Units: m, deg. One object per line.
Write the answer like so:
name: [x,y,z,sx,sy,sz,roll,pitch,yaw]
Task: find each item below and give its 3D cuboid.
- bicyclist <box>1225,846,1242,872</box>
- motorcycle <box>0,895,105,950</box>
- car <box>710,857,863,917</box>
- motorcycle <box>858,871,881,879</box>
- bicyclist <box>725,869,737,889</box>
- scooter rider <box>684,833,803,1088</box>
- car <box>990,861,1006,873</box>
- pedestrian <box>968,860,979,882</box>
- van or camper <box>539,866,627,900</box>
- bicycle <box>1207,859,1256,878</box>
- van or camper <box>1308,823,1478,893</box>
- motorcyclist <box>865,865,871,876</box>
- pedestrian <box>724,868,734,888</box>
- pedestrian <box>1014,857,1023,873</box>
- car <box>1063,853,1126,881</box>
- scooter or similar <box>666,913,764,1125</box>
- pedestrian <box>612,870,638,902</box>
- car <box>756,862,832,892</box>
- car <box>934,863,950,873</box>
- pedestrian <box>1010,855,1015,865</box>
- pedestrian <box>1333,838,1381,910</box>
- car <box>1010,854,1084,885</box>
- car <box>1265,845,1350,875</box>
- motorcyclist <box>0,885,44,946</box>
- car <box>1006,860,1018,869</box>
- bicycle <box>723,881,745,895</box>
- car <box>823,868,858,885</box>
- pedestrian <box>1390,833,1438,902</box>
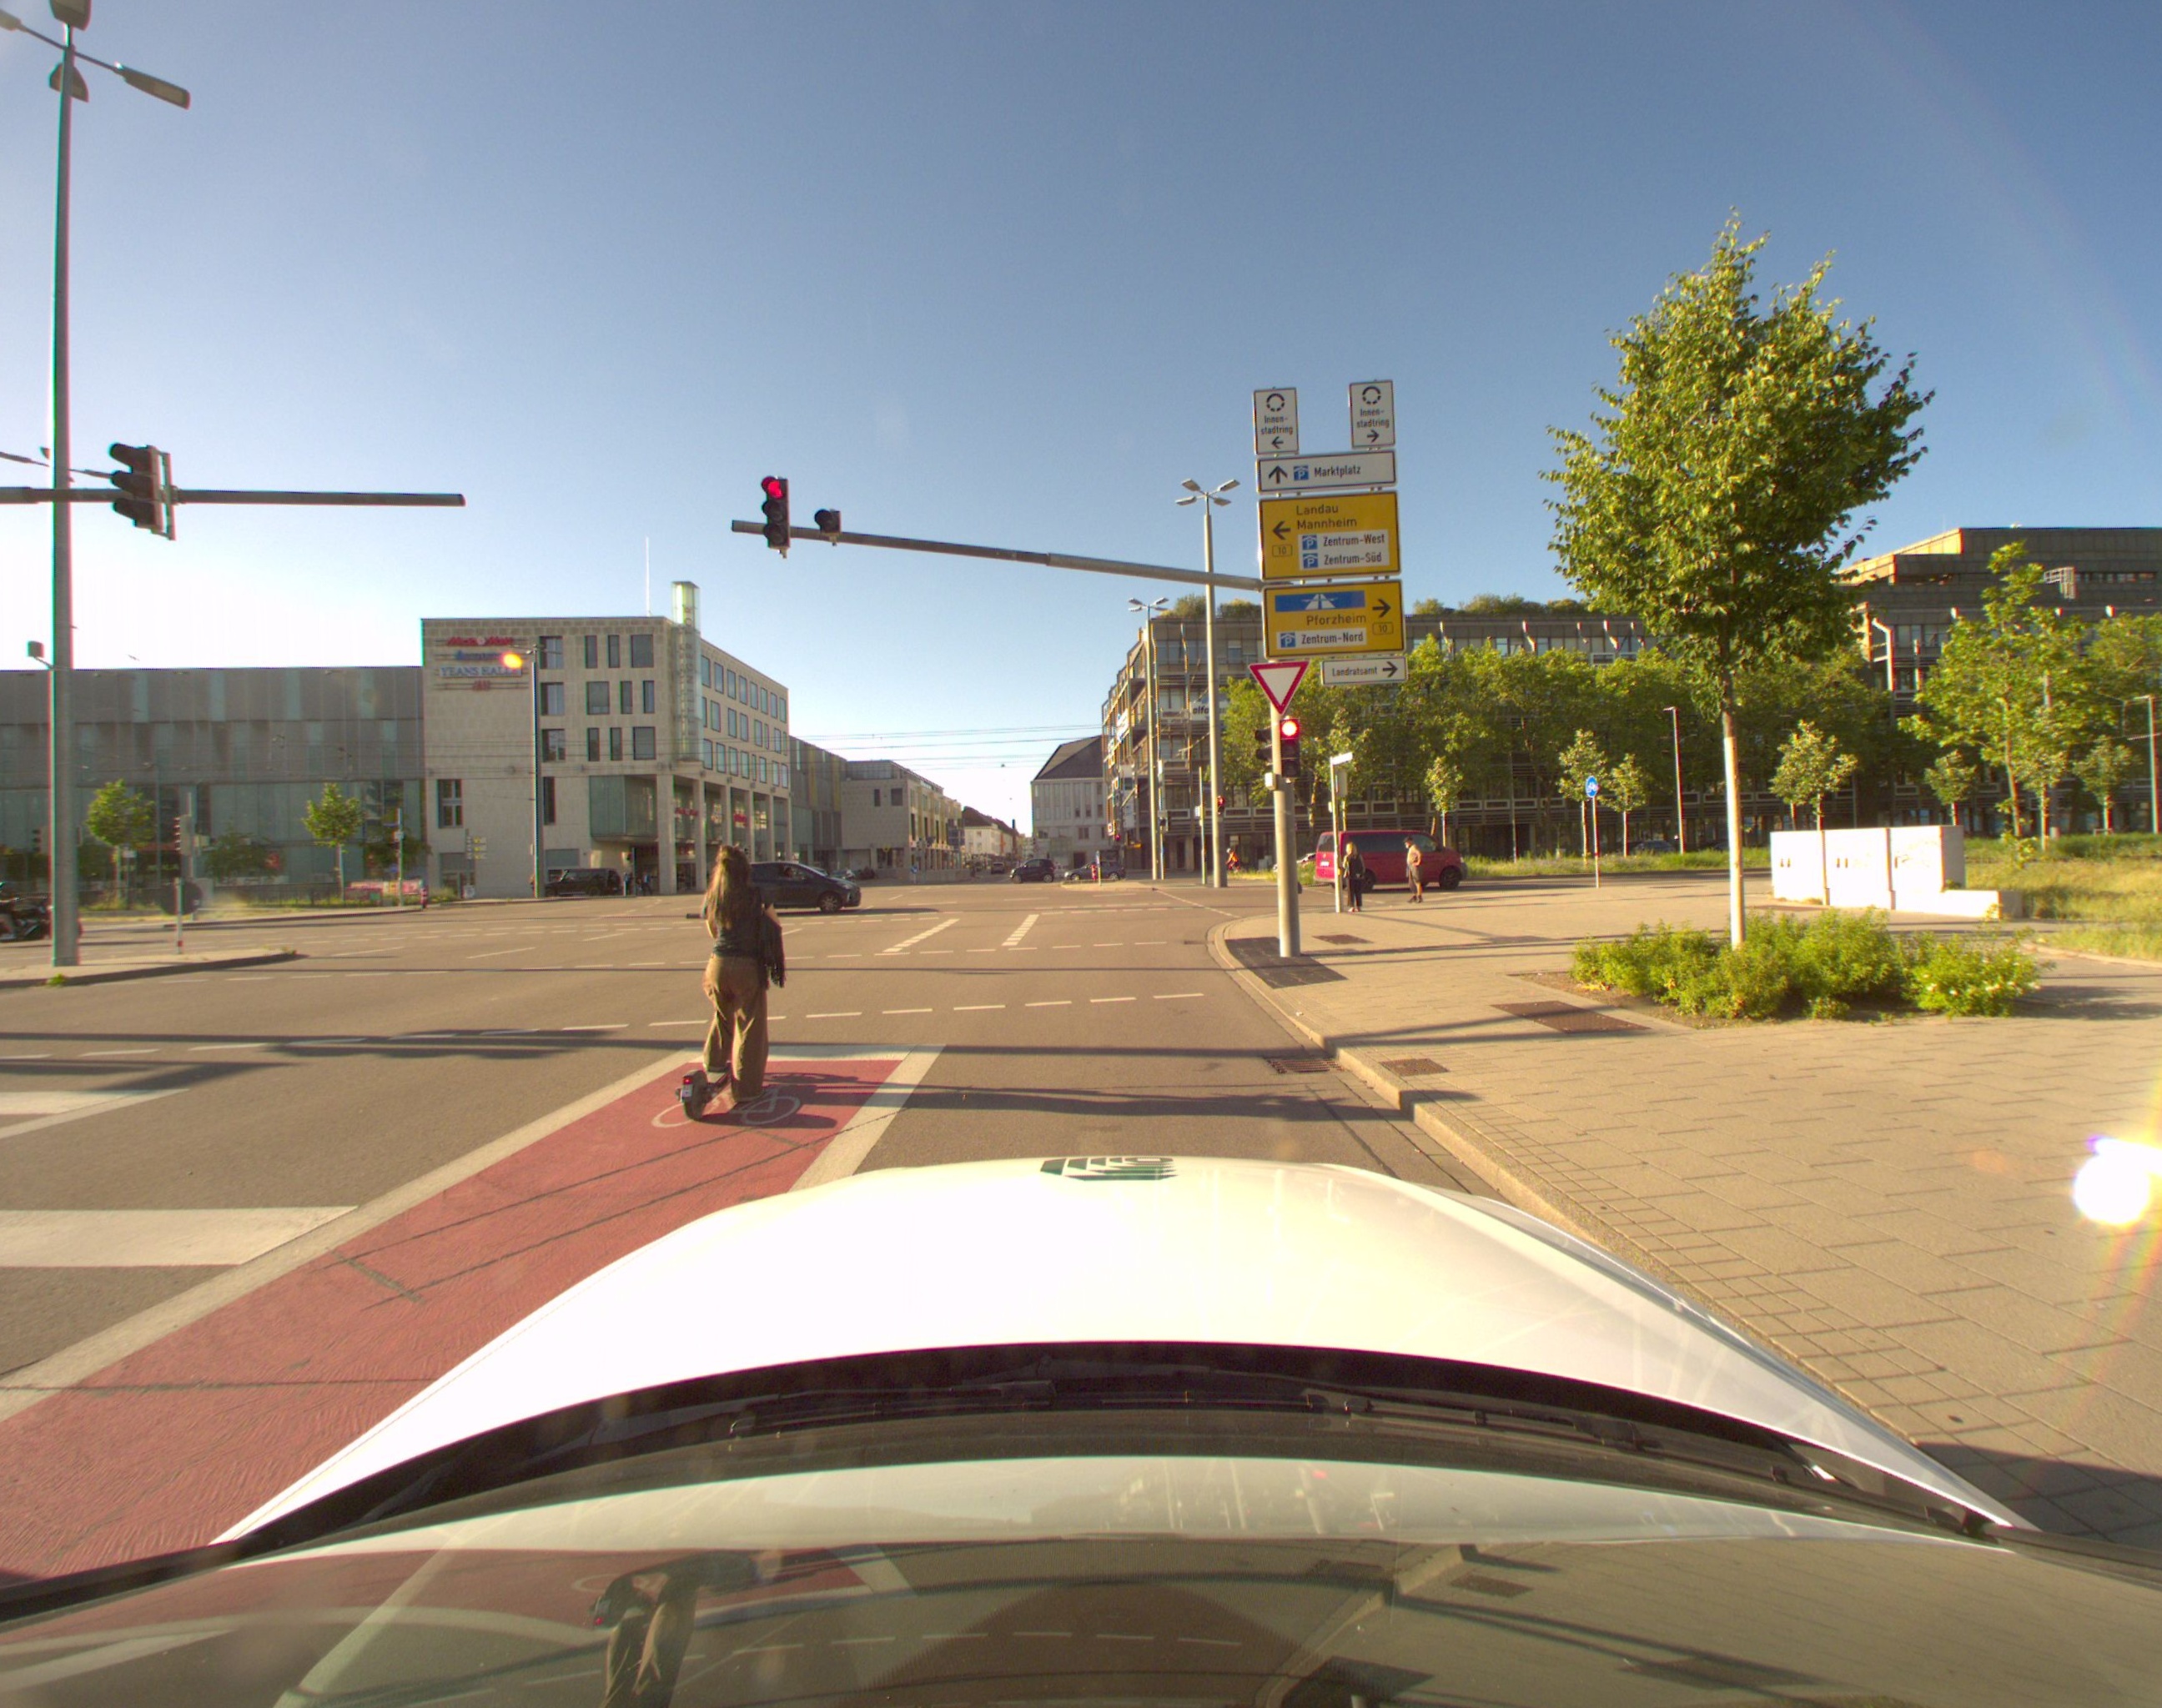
bicyclist: [8.824,0.308,47.071,0.820,1.474,0.652,-2,0,-2]
motorcycle: [-25.759,1.673,19.789,2.599,1.208,0.726,-2,1,-16]
car: [-8.262,0.900,23.205,3.865,1.510,1.664,-2,0,-13]
motorcycle: [-25.693,2.578,99.031,2.600,0.993,1.113,0,-1,-8]
bicyclist: [-26.518,1.904,61.728,0.623,1.448,0.589,-2,0,3]
scooter rider: [-2.134,0.644,5.198,0.552,1.530,0.448,-2,0,-7]
car: [-11.019,1.753,108.527,1.652,1.458,3.543,-2,0,2]
pedestrian: [-8.415,1.306,63.965,0.697,1.688,0.620,-2,0,2]
van or camper: [-32.265,1.843,52.873,4.404,2.013,1.993,-2,0,-3]
bicycle: [8.682,0.822,47.054,2.561,0.975,1.047,-2,0,-1]
van or camper: [10.072,0.110,26.438,4.830,2.013,1.999,-2,0,-12]
motorcyclist: [-25.961,1.988,99.115,0.627,1.406,0.661,0,-1,-7]
pedestrian: [-29.979,2.067,69.358,0.590,1.646,0.629,-2,0,1]
pedestrian: [-7.101,1.208,92.708,0.896,1.782,0.809,-2,0,1]
car: [0.906,0.872,53.957,3.966,1.684,1.829,-2,0,7]
scooter or similar: [-2.203,0.948,4.960,0.306,1.107,0.835,-2,0,-9]
pedestrian: [-25.137,1.764,44.908,0.821,1.675,1.004,-2,0,-2]
car: [-17.765,1.391,50.489,3.973,1.684,1.761,-2,0,0]
car: [-20.868,2.069,122.293,1.652,1.458,3.543,-2,0,2]
pedestrian: [-13.906,1.195,165.261,0.907,1.965,0.823,0,-1,1]
pedestrian: [6.379,0.455,18.852,0.763,1.614,0.874,-2,0,0]
car: [-2.070,0.935,50.065,4.392,1.684,1.824,-2,0,-2]
car: [14.193,0.395,51.193,4.831,1.684,1.824,-2,0,-2]
motorcyclist: [-25.952,1.487,19.758,0.658,1.423,0.645,-2,1,-15]
car: [-12.404,1.858,146.219,1.652,1.458,3.543,-2,0,2]
bicycle: [-26.266,2.550,61.687,0.633,0.903,2.220,-2,0,3]
car: [-20.746,1.923,70.380,1.670,1.357,4.021,-2,0,1]
pedestrian: [8.613,0.344,21.092,0.869,1.706,0.768,-2,0,0]
